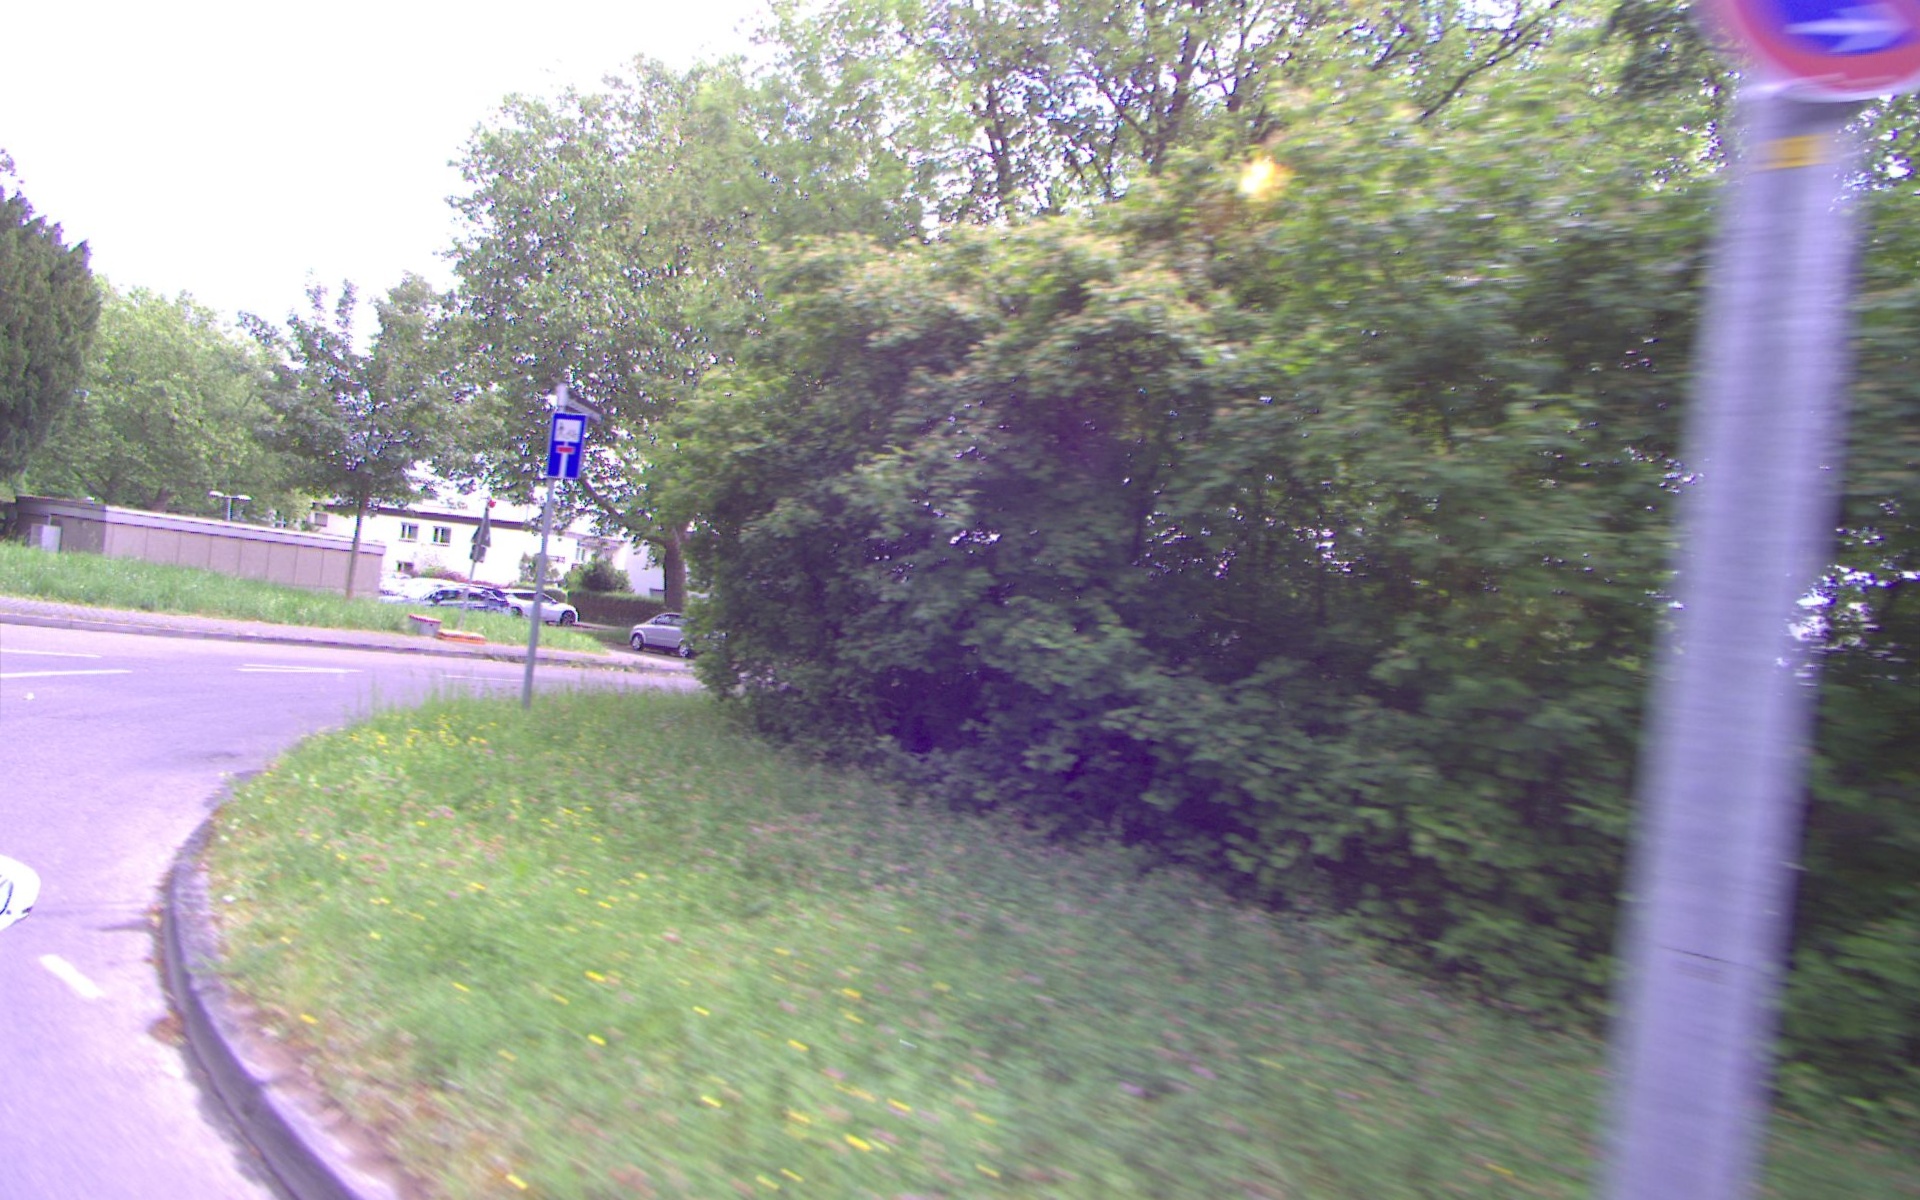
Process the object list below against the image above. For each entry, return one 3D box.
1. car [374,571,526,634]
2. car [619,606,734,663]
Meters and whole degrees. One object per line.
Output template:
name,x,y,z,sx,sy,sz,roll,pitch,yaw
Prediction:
car,-15.232,0.107,30.225,1.780,1.329,3.570,7,-3,30
car,-10.144,1.233,35.975,3.686,1.486,1.849,7,-1,32
